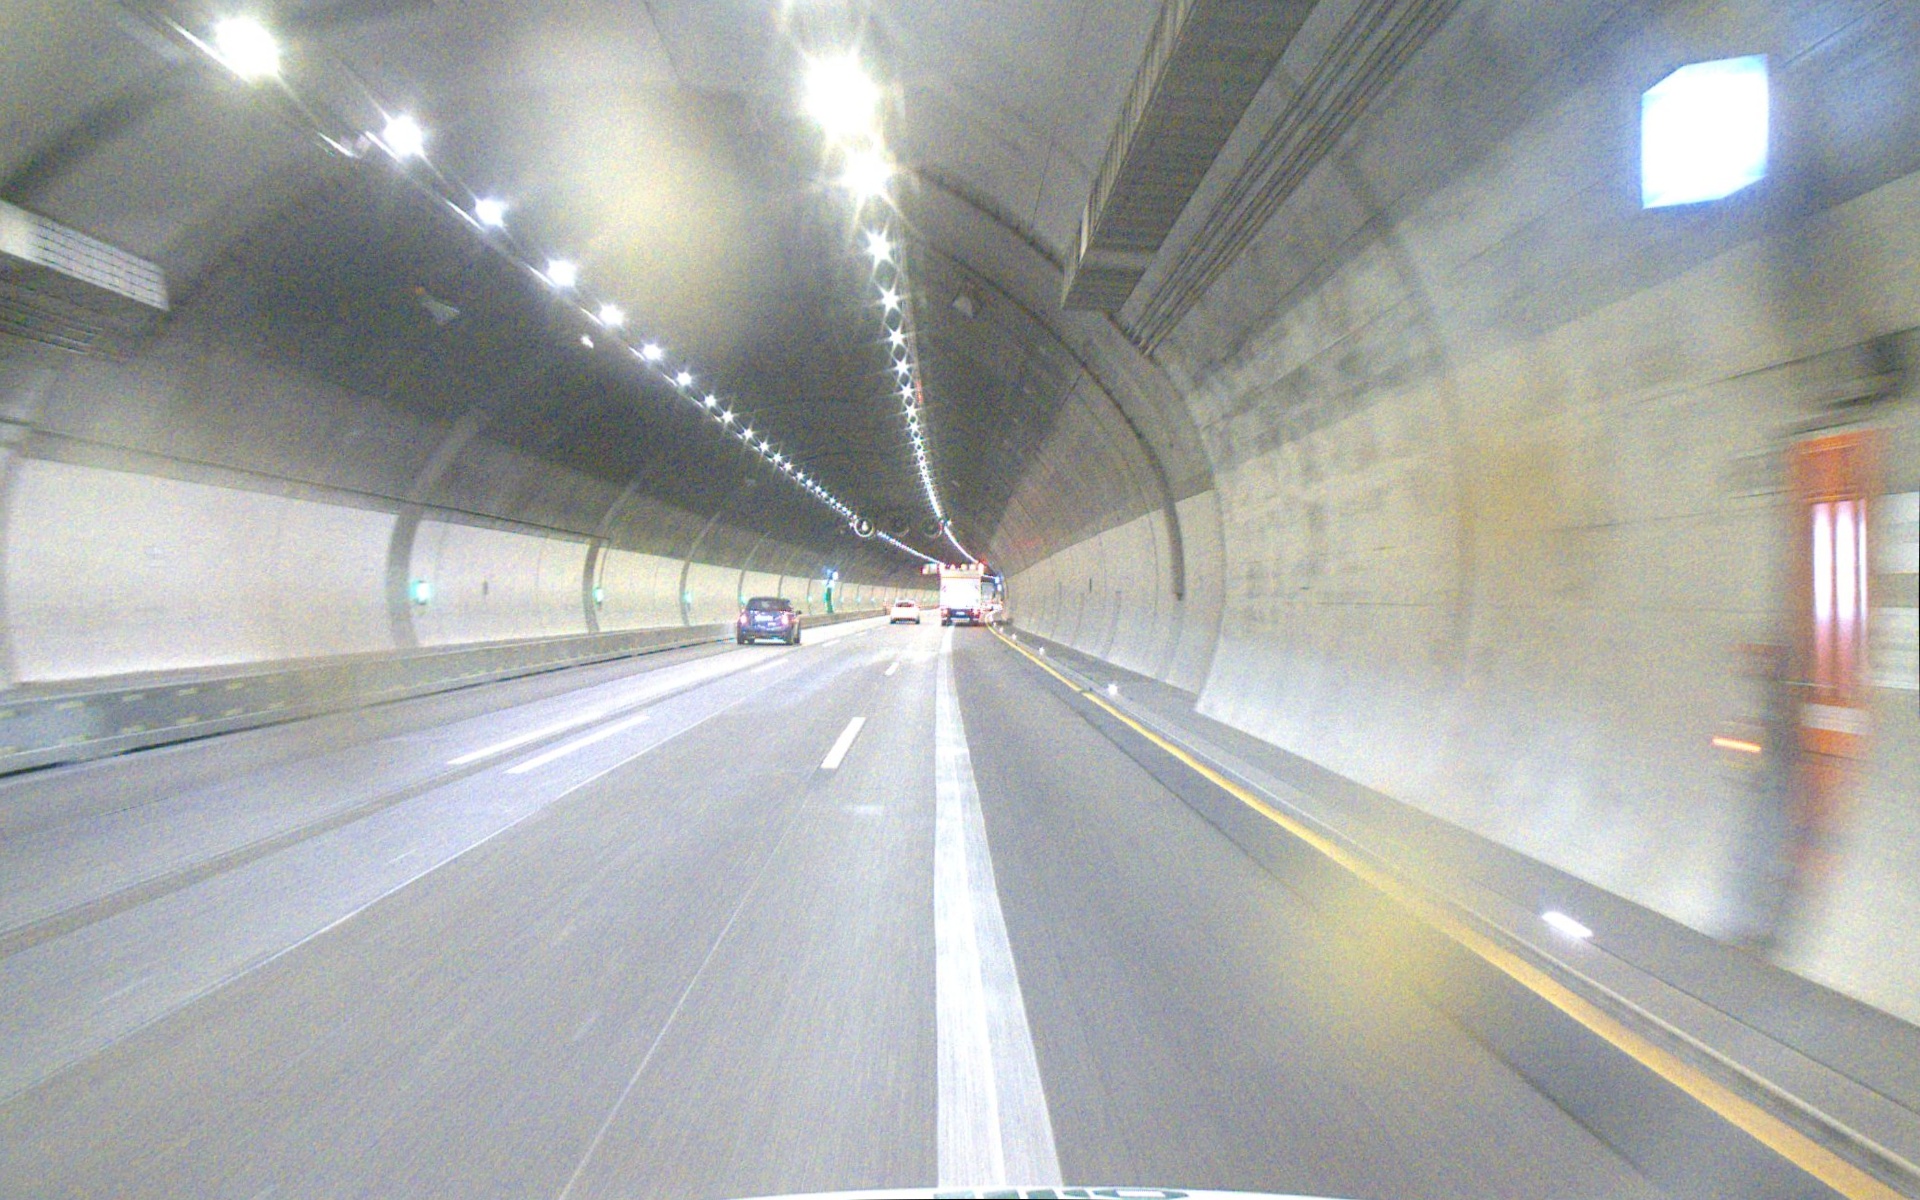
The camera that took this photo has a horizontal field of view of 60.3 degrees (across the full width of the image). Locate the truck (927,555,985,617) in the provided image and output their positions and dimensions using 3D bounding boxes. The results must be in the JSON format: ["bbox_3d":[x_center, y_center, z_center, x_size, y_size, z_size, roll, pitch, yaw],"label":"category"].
[{"bbox_3d":[-0.260,-0.875,105.672,3.519,3.714,10.721,0,0,0],"label":"truck"}]

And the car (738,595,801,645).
[{"bbox_3d":[-5.766,0.581,50.390,1.655,1.442,3.920,1,0,-3],"label":"car"}]

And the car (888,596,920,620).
[{"bbox_3d":[-3.562,0.500,105.942,1.953,1.437,4.742,0,0,-1],"label":"car"}]
